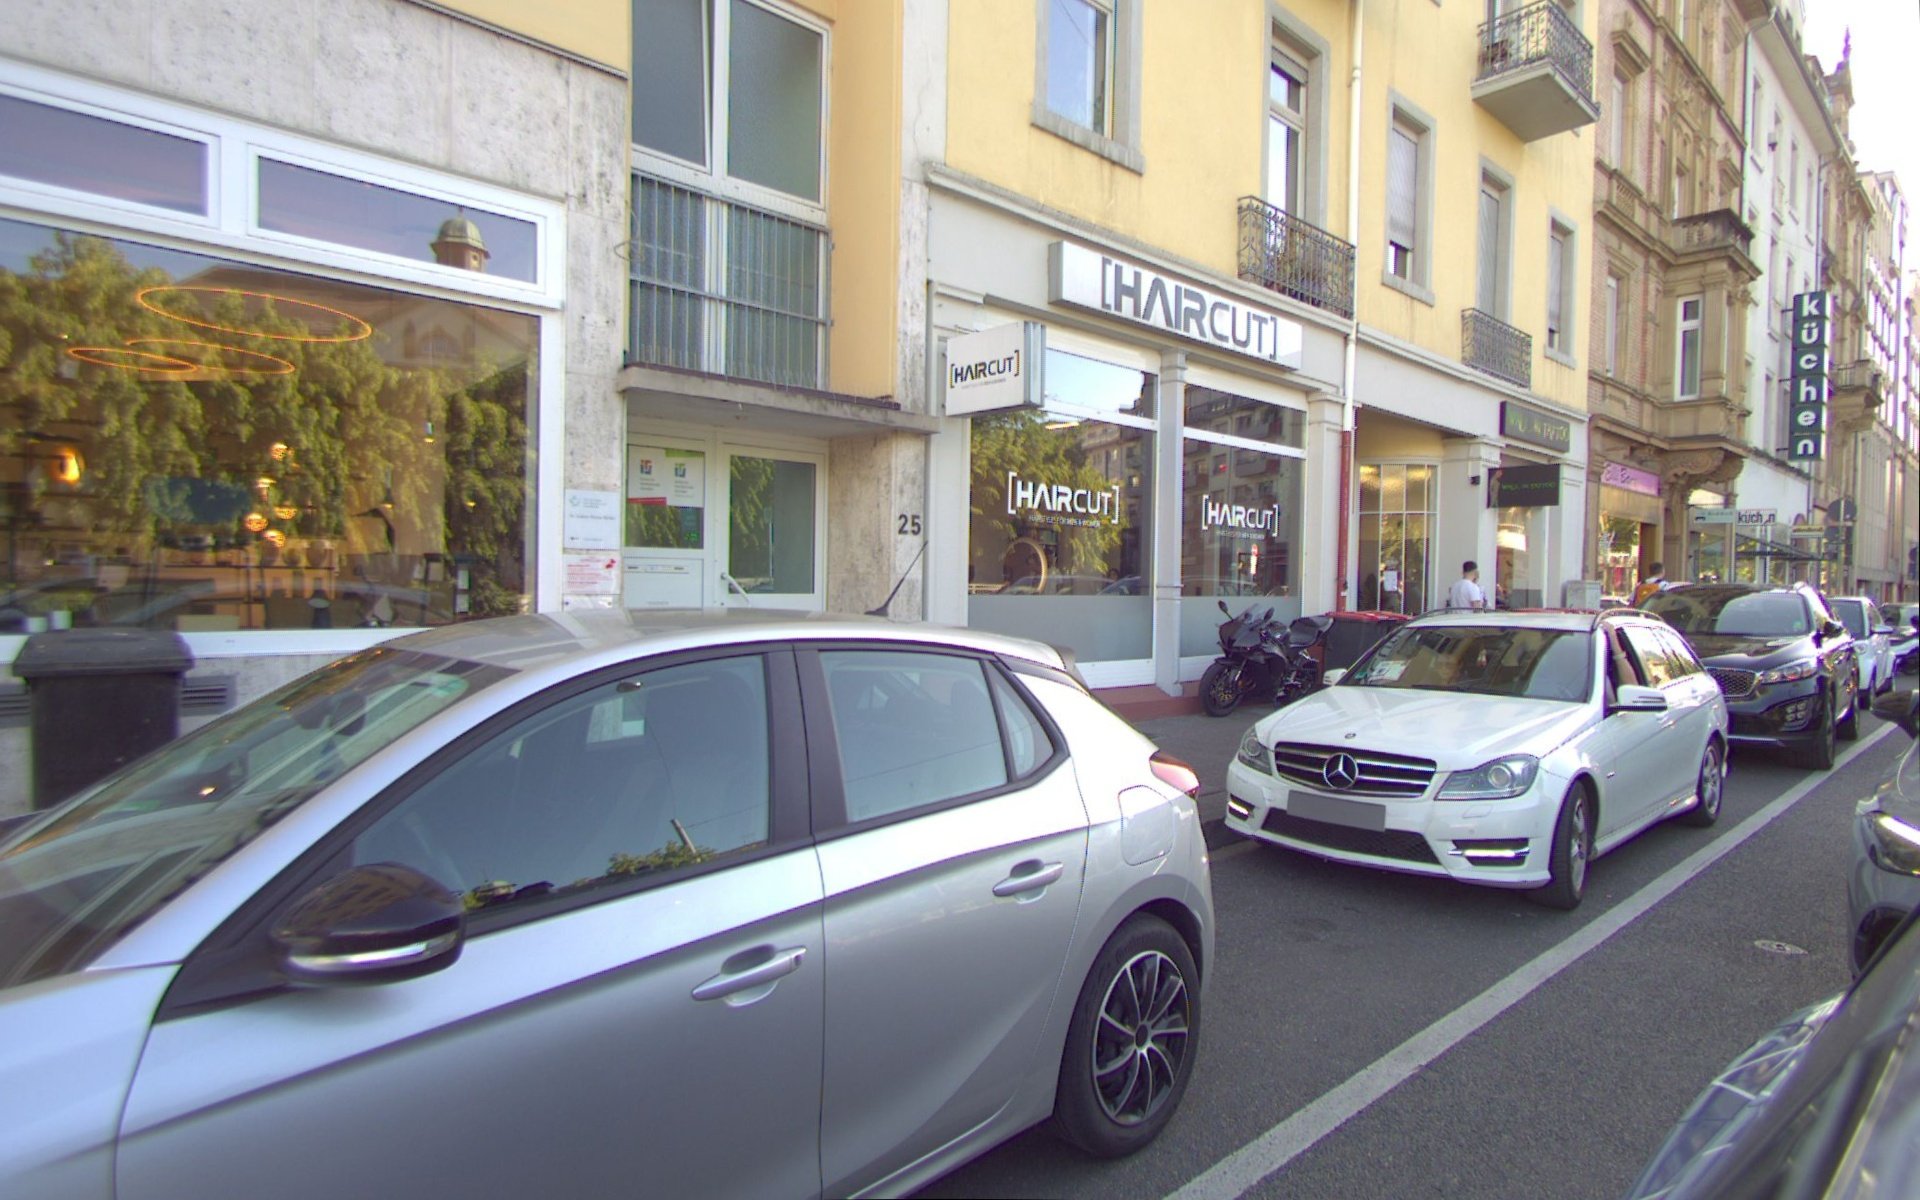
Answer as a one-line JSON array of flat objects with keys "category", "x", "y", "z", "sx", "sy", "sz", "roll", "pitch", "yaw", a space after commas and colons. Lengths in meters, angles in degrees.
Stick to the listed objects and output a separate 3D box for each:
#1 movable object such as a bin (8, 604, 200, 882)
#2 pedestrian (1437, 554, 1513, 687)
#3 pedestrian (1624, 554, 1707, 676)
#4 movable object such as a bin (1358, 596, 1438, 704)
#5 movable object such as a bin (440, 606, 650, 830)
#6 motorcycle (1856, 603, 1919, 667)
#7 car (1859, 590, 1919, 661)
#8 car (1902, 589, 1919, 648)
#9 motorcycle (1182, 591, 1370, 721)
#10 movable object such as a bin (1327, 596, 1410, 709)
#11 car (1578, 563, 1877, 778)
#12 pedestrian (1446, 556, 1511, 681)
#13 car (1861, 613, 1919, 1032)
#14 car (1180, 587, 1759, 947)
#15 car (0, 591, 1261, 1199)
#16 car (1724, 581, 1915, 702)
[{"category": "movable object such as a bin", "x": -3.701, "y": 0.553, "z": 4.400, "sx": 0.591, "sy": 1.041, "sz": 0.812, "roll": 0, "pitch": 1, "yaw": -40}, {"category": "pedestrian", "x": 6.574, "y": 0.246, "z": 12.919, "sx": 0.689, "sy": 1.637, "sz": 0.641, "roll": 0, "pitch": 0, "yaw": -42}, {"category": "pedestrian", "x": 9.829, "y": 0.190, "z": 14.103, "sx": 0.750, "sy": 1.637, "sz": 0.794, "roll": 0, "pitch": 1, "yaw": -43}, {"category": "movable object such as a bin", "x": 5.151, "y": 0.564, "z": 11.897, "sx": 0.633, "sy": 1.222, "sz": 0.647, "roll": 0, "pitch": 0, "yaw": -40}, {"category": "movable object such as a bin", "x": -2.270, "y": 0.584, "z": 5.539, "sx": 0.878, "sy": 1.066, "sz": 0.752, "roll": 0, "pitch": 1, "yaw": -40}, {"category": "motorcycle", "x": 19.292, "y": 0.708, "z": 20.526, "sx": 1.514, "sy": 1.248, "sz": 0.771, "roll": 1, "pitch": 0, "yaw": 1}, {"category": "car", "x": 22.073, "y": 0.547, "z": 23.232, "sx": 3.931, "sy": 1.504, "sz": 1.713, "roll": 0, "pitch": 1, "yaw": -42}, {"category": "car", "x": 26.404, "y": 0.482, "z": 26.870, "sx": 3.931, "sy": 1.504, "sz": 1.713, "roll": 0, "pitch": 1, "yaw": -42}, {"category": "motorcycle", "x": 3.325, "y": 0.521, "z": 10.535, "sx": 2.208, "sy": 1.179, "sz": 0.773, "roll": 0, "pitch": 4, "yaw": -41}, {"category": "movable object such as a bin", "x": 4.641, "y": 0.570, "z": 11.508, "sx": 0.633, "sy": 1.222, "sz": 0.647, "roll": 0, "pitch": 0, "yaw": -40}, {"category": "car", "x": 8.007, "y": 0.533, "z": 10.368, "sx": 1.853, "sy": 1.719, "sz": 4.623, "roll": 1, "pitch": 1, "yaw": 45}, {"category": "pedestrian", "x": 7.046, "y": 0.235, "z": 13.744, "sx": 0.631, "sy": 1.637, "sz": 0.572, "roll": 0, "pitch": 0, "yaw": -40}, {"category": "car", "x": 5.323, "y": 0.772, "z": 4.278, "sx": 4.183, "sy": 1.396, "sz": 1.846, "roll": 0, "pitch": 1, "yaw": -42}, {"category": "car", "x": 3.459, "y": 0.677, "z": 6.387, "sx": 4.519, "sy": 1.480, "sz": 1.757, "roll": 0, "pitch": 1, "yaw": -42}, {"category": "car", "x": -1.027, "y": 0.699, "z": 2.326, "sx": 3.642, "sy": 1.415, "sz": 1.652, "roll": 0, "pitch": 1, "yaw": -42}, {"category": "car", "x": 12.691, "y": 0.528, "z": 14.913, "sx": 2.965, "sy": 1.587, "sz": 1.695, "roll": 0, "pitch": 1, "yaw": -40}]
